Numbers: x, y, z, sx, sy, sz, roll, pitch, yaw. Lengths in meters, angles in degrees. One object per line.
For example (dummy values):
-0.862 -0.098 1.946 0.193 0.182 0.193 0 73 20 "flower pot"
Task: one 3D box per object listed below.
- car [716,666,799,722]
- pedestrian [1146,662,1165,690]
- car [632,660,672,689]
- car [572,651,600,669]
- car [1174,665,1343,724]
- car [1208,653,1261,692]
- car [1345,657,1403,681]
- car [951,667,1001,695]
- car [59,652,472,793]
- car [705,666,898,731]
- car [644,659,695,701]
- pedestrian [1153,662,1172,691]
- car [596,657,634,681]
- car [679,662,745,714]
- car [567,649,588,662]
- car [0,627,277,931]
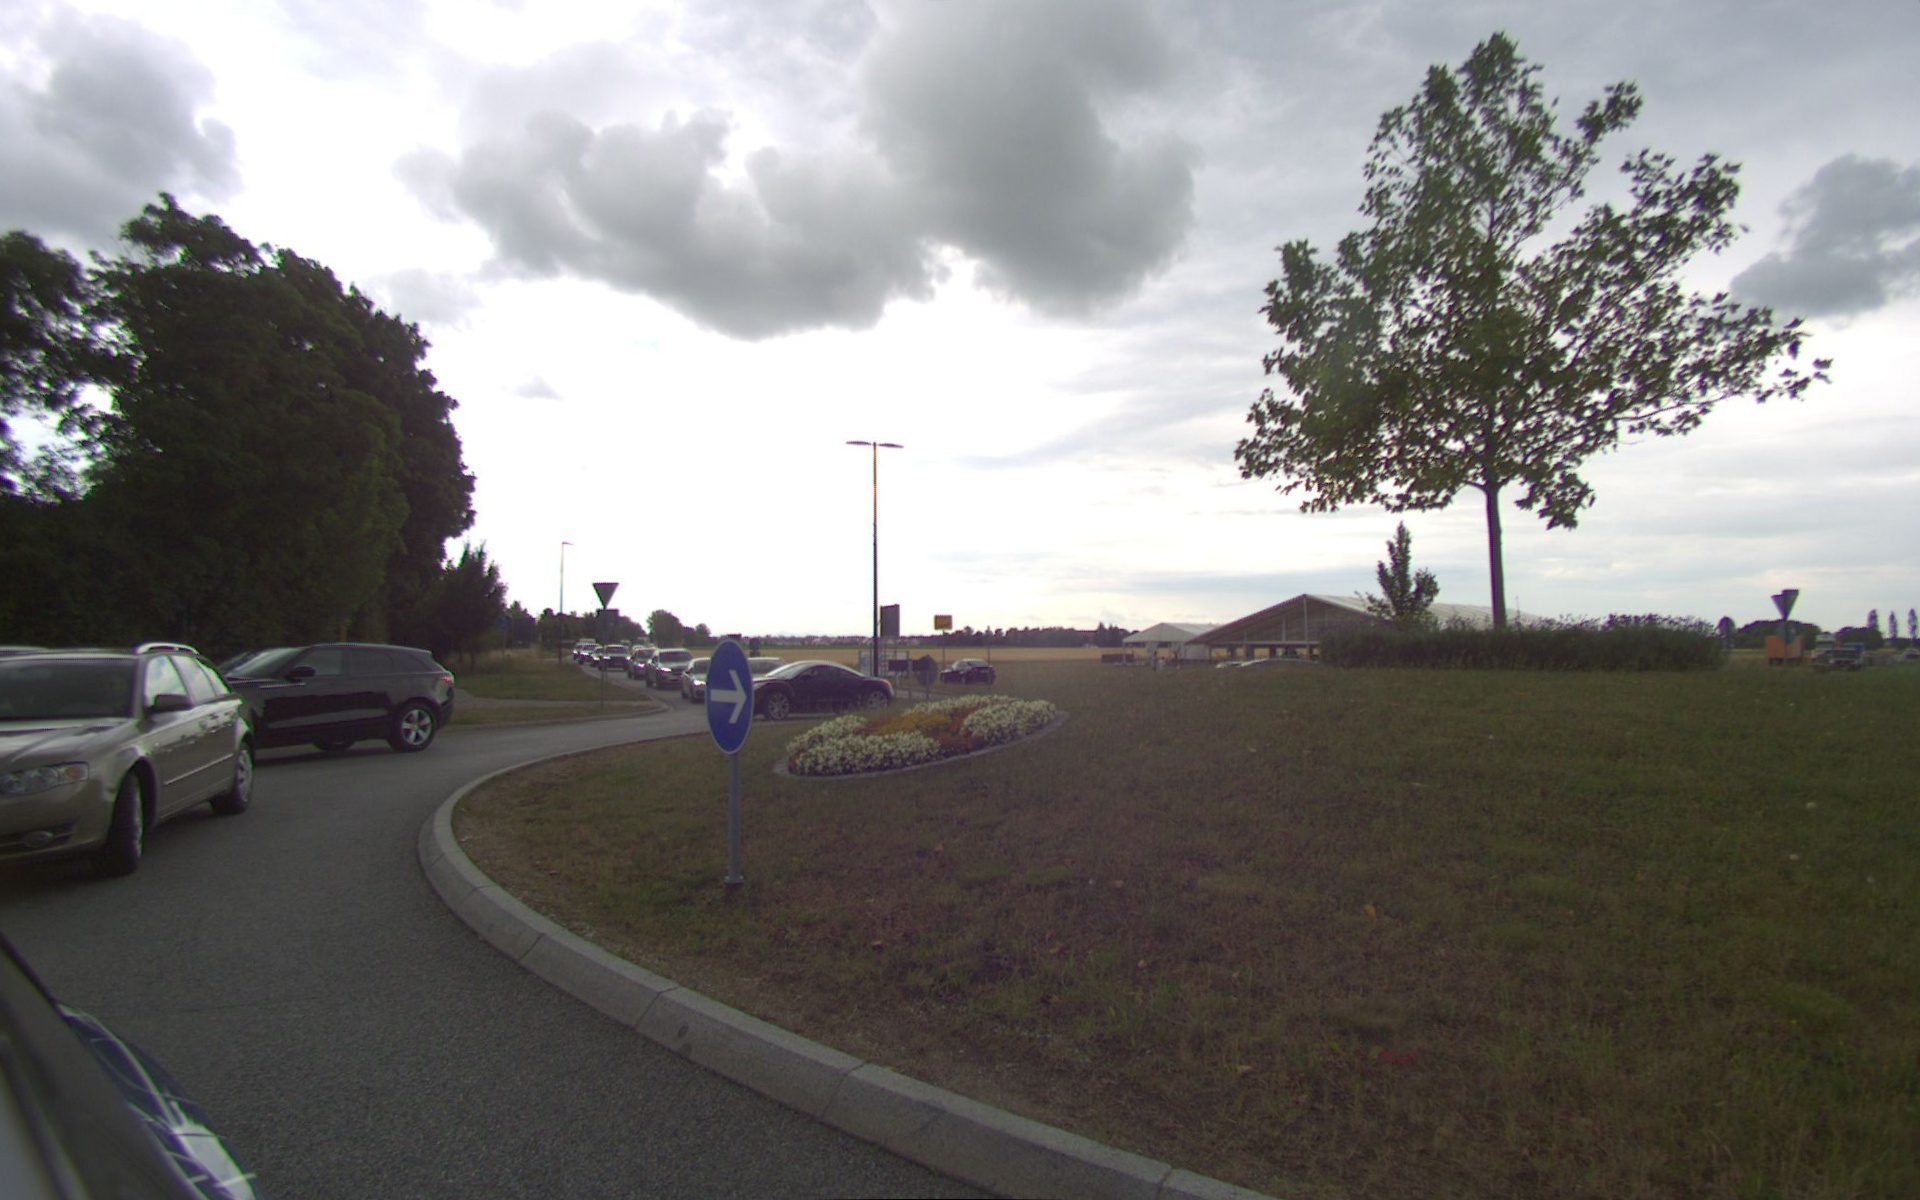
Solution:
-5.903 2.674 29.136 1.809 1.469 4.148 1 -5 -19 "car"
13.529 5.255 70.138 0.938 1.915 0.852 0 -2 -17 "pedestrian"
-16.066 3.859 52.708 1.751 1.328 3.823 0 -2 -21 "car"
-30.722 4.895 83.126 1.751 1.328 3.823 0 -2 -26 "car"
7.820 2.467 26.849 4.034 1.441 1.758 0 -2 8 "car"
13.091 3.429 48.434 1.695 1.565 3.993 -3 -1 5 "car"
27.897 4.625 68.231 3.936 1.453 1.955 1 -2 -39 "car"
0.819 4.436 55.874 1.752 1.328 3.821 0 -2 -15 "car"
-9.502 1.587 14.383 1.985 1.586 4.556 -3 -3 20 "car"
-3.660 2.234 23.582 4.046 1.317 1.835 2 -4 -34 "car"
-12.266 3.330 42.645 1.751 1.510 3.823 0 -2 -21 "car"
13.830 5.230 69.210 0.938 1.915 0.852 0 -2 -17 "pedestrian"
-21.807 4.340 63.918 1.751 1.328 3.823 0 -2 -26 "car"
-8.602 2.980 34.855 1.751 1.510 3.823 0 -2 -21 "car"
-40.695 5.875 107.566 1.751 1.328 3.823 0 -2 -26 "car"
-6.211 0.998 6.786 1.752 1.476 4.555 1 -4 -22 "car"
